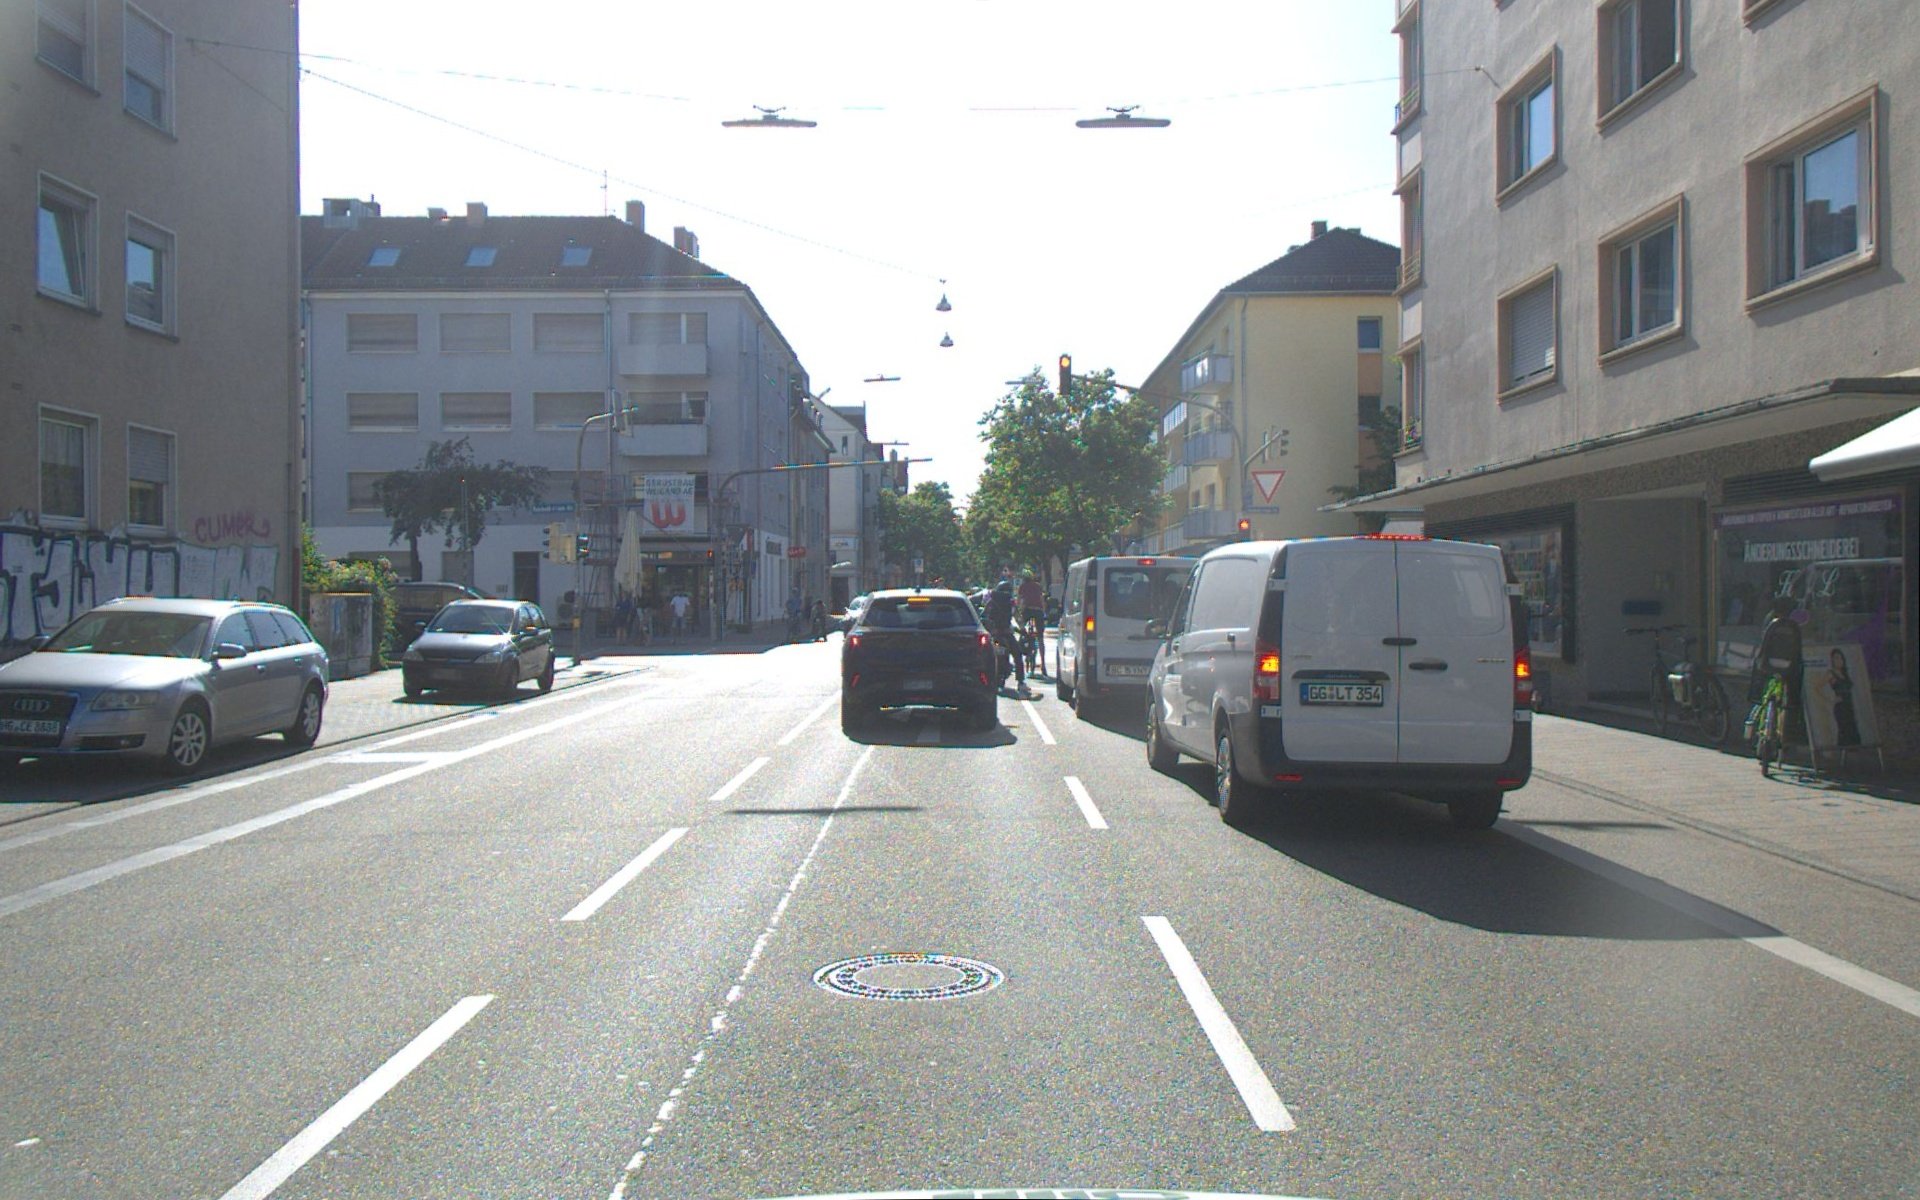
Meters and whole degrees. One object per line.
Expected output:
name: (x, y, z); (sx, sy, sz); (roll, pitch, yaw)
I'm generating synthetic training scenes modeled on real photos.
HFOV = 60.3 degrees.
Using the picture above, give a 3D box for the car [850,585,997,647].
car: (-1.010, 0.420, 47.051); (1.966, 1.668, 3.972); (0, 0, 44)

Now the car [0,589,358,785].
car: (-7.392, 0.685, 15.533); (1.741, 1.495, 4.759); (2, 0, -1)

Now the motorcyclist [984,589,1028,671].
motorcyclist: (0.708, 0.455, 25.622); (0.645, 1.248, 0.694); (0, 0, -2)

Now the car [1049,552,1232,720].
car: (2.241, 0.409, 21.720); (1.779, 1.955, 4.643); (0, 0, -1)

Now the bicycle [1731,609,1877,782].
bicycle: (6.785, 0.740, 13.344); (0.465, 1.296, 1.218); (-3, 0, -1)

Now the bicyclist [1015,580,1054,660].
bicyclist: (1.387, 0.363, 31.035); (0.670, 1.474, 0.940); (0, 0, -2)

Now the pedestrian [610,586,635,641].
pedestrian: (-10.376, 0.409, 50.845); (0.670, 1.692, 0.601); (0, 0, -2)

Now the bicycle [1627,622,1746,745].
bicycle: (7.263, 0.809, 16.594); (0.513, 1.138, 1.534); (0, 0, -1)

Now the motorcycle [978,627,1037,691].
motorcycle: (0.722, 0.895, 25.595); (0.791, 0.878, 1.822); (2, 0, -1)

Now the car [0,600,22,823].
car: (-7.394, 0.739, 9.196); (1.686, 1.523, 4.625); (3, 0, 0)

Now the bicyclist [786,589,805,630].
bicyclist: (-5.697, 0.333, 57.204); (0.534, 1.405, 0.521); (1, 0, 8)

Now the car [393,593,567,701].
car: (-7.420, 0.673, 25.920); (1.619, 1.505, 3.999); (1, 0, -1)

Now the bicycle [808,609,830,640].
bicycle: (-4.855, 0.841, 57.026); (0.524, 1.023, 1.111); (-1, 0, 7)

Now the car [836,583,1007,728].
car: (-0.457, 0.583, 19.636); (1.807, 1.534, 3.999); (0, 0, -1)

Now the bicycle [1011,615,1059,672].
bicycle: (1.386, 0.792, 30.869); (0.759, 1.009, 1.717); (0, 0, -1)

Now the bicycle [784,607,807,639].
bicycle: (-5.694, 0.786, 57.132); (0.552, 1.104, 1.104); (0, 0, 7)

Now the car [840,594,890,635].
car: (-3.387, 0.513, 59.402); (1.585, 1.422, 3.731); (0, 0, 0)

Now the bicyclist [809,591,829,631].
bicyclist: (-4.855, 0.380, 57.046); (0.558, 1.394, 0.584); (-1, -1, 7)

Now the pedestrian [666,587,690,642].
pedestrian: (-8.766, 0.454, 51.442); (0.670, 1.692, 0.601); (0, 0, -2)

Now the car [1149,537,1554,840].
car: (2.663, 0.529, 12.409); (1.944, 1.854, 4.546); (0, 0, 0)

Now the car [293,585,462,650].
car: (-15.269, 0.455, 43.492); (3.908, 1.654, 1.543); (0, 0, -4)
